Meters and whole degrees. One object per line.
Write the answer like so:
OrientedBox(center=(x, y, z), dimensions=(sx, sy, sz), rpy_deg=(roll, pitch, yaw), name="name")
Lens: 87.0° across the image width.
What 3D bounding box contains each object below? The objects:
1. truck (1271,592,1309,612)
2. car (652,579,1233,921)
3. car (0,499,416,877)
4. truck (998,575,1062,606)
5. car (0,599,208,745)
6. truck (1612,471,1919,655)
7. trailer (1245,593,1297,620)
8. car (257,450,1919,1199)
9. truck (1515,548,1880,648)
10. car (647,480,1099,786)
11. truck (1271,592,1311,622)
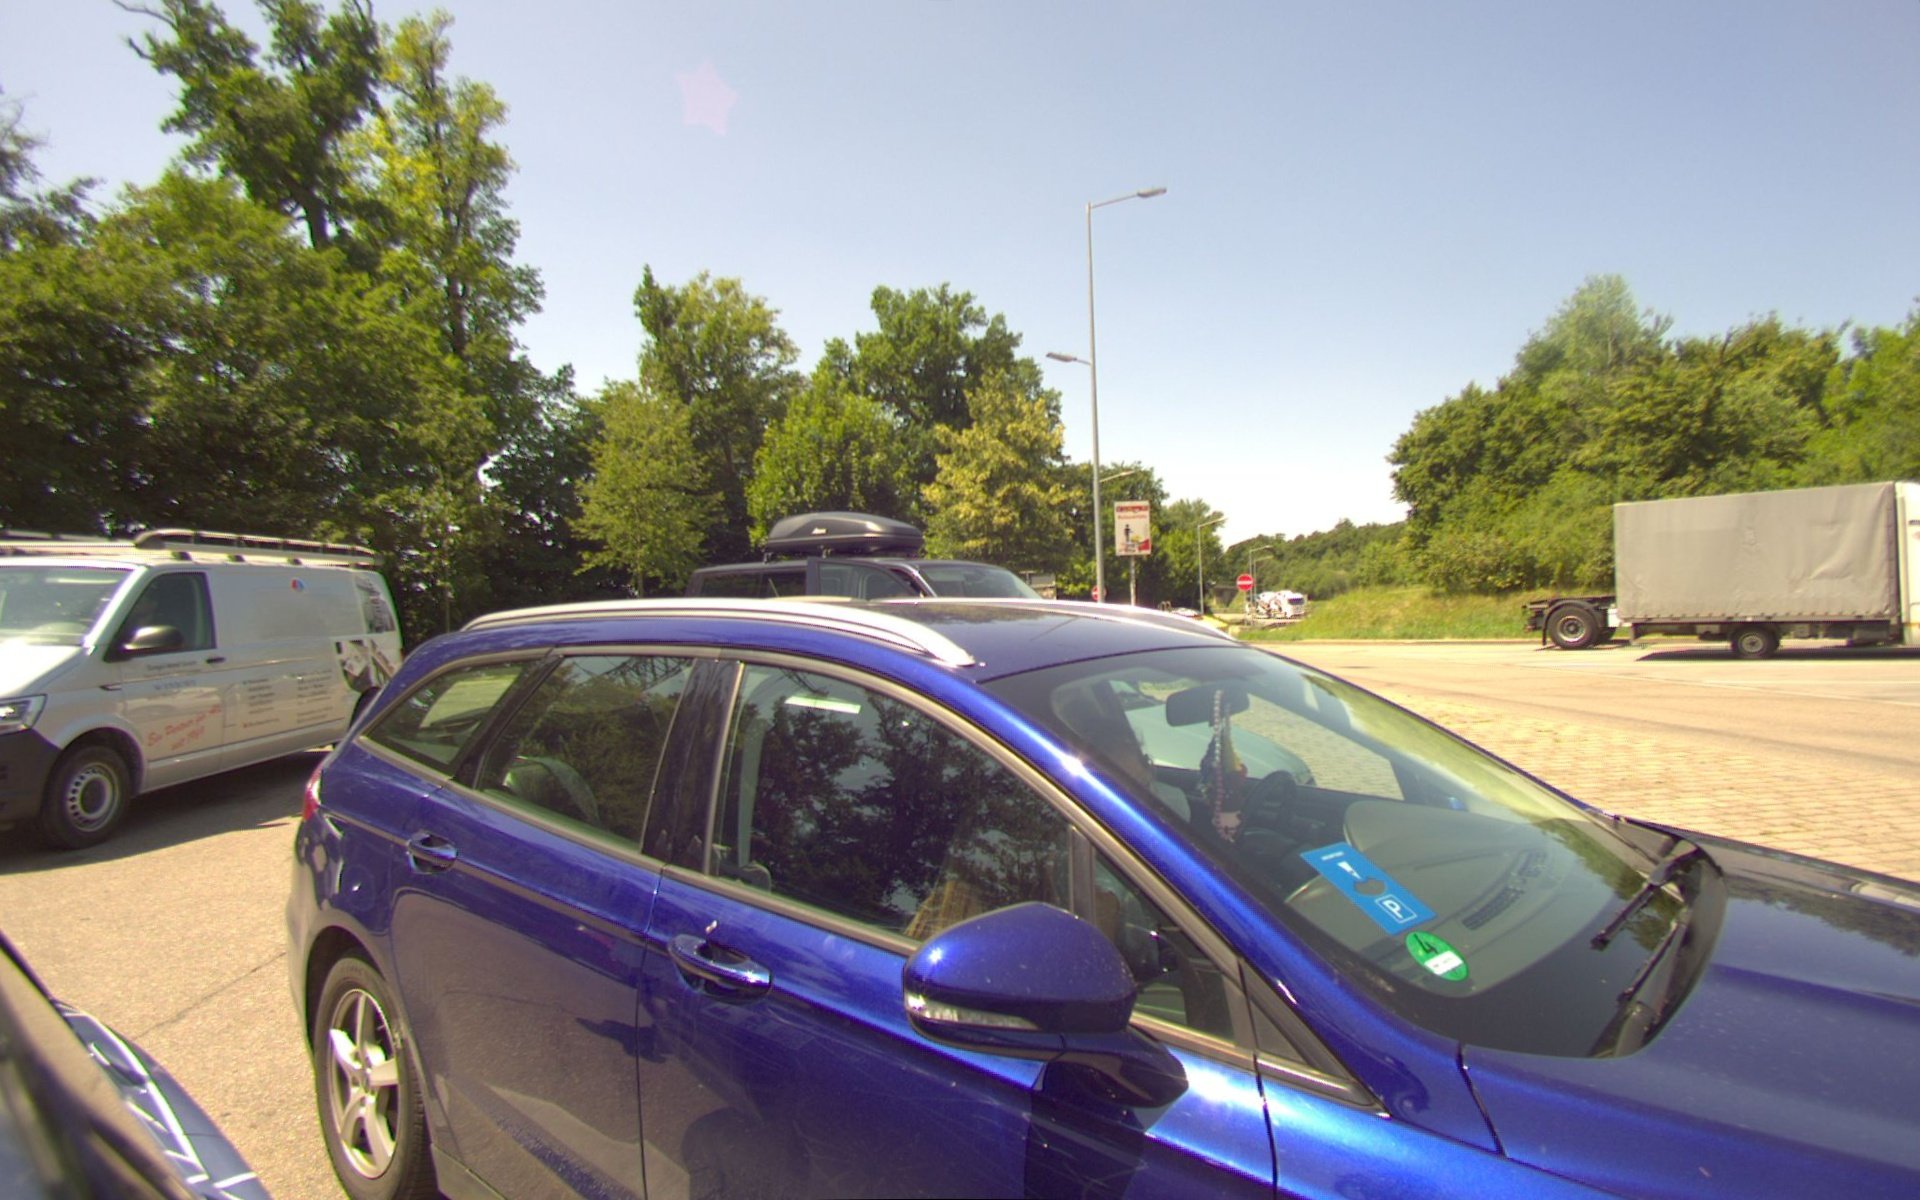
OrientedBox(center=(69.835, 0.442, 214.512), dimensions=(2.805, 4.148, 12.005), rpy_deg=(-1, 0, -6), name="truck")
OrientedBox(center=(-0.250, 0.639, 5.593), dimensions=(3.112, 1.370, 1.326), rpy_deg=(-2, -1, 41), name="car")
OrientedBox(center=(-6.489, 0.543, 8.009), dimensions=(1.816, 2.121, 5.439), rpy_deg=(0, -1, -5), name="car")
OrientedBox(center=(3.388, -0.455, 48.877), dimensions=(2.866, 1.386, 1.158), rpy_deg=(-2, -1, 22), name="truck")
OrientedBox(center=(-11.899, 0.872, 12.647), dimensions=(1.755, 1.701, 3.798), rpy_deg=(-2, -1, 45), name="car")
OrientedBox(center=(16.626, -0.620, 18.828), dimensions=(7.253, 3.175, 2.148), rpy_deg=(-2, -1, 41), name="truck")
OrientedBox(center=(48.384, 0.972, 158.069), dimensions=(3.113, 4.077, 14.991), rpy_deg=(-1, 0, -2), name="trailer")
OrientedBox(center=(0.219, 0.650, 2.080), dimensions=(4.411, 1.429, 1.721), rpy_deg=(-2, -1, 41), name="car")
OrientedBox(center=(16.870, 0.054, 23.575), dimensions=(6.613, 2.029, 1.973), rpy_deg=(-2, -1, 41), name="truck")
OrientedBox(center=(-0.934, 0.313, 9.619), dimensions=(4.076, 2.336, 1.767), rpy_deg=(-2, -1, 35), name="car")
OrientedBox(center=(48.679, 1.008, 149.087), dimensions=(3.059, 4.148, 7.519), rpy_deg=(-1, 0, -2), name="truck")
